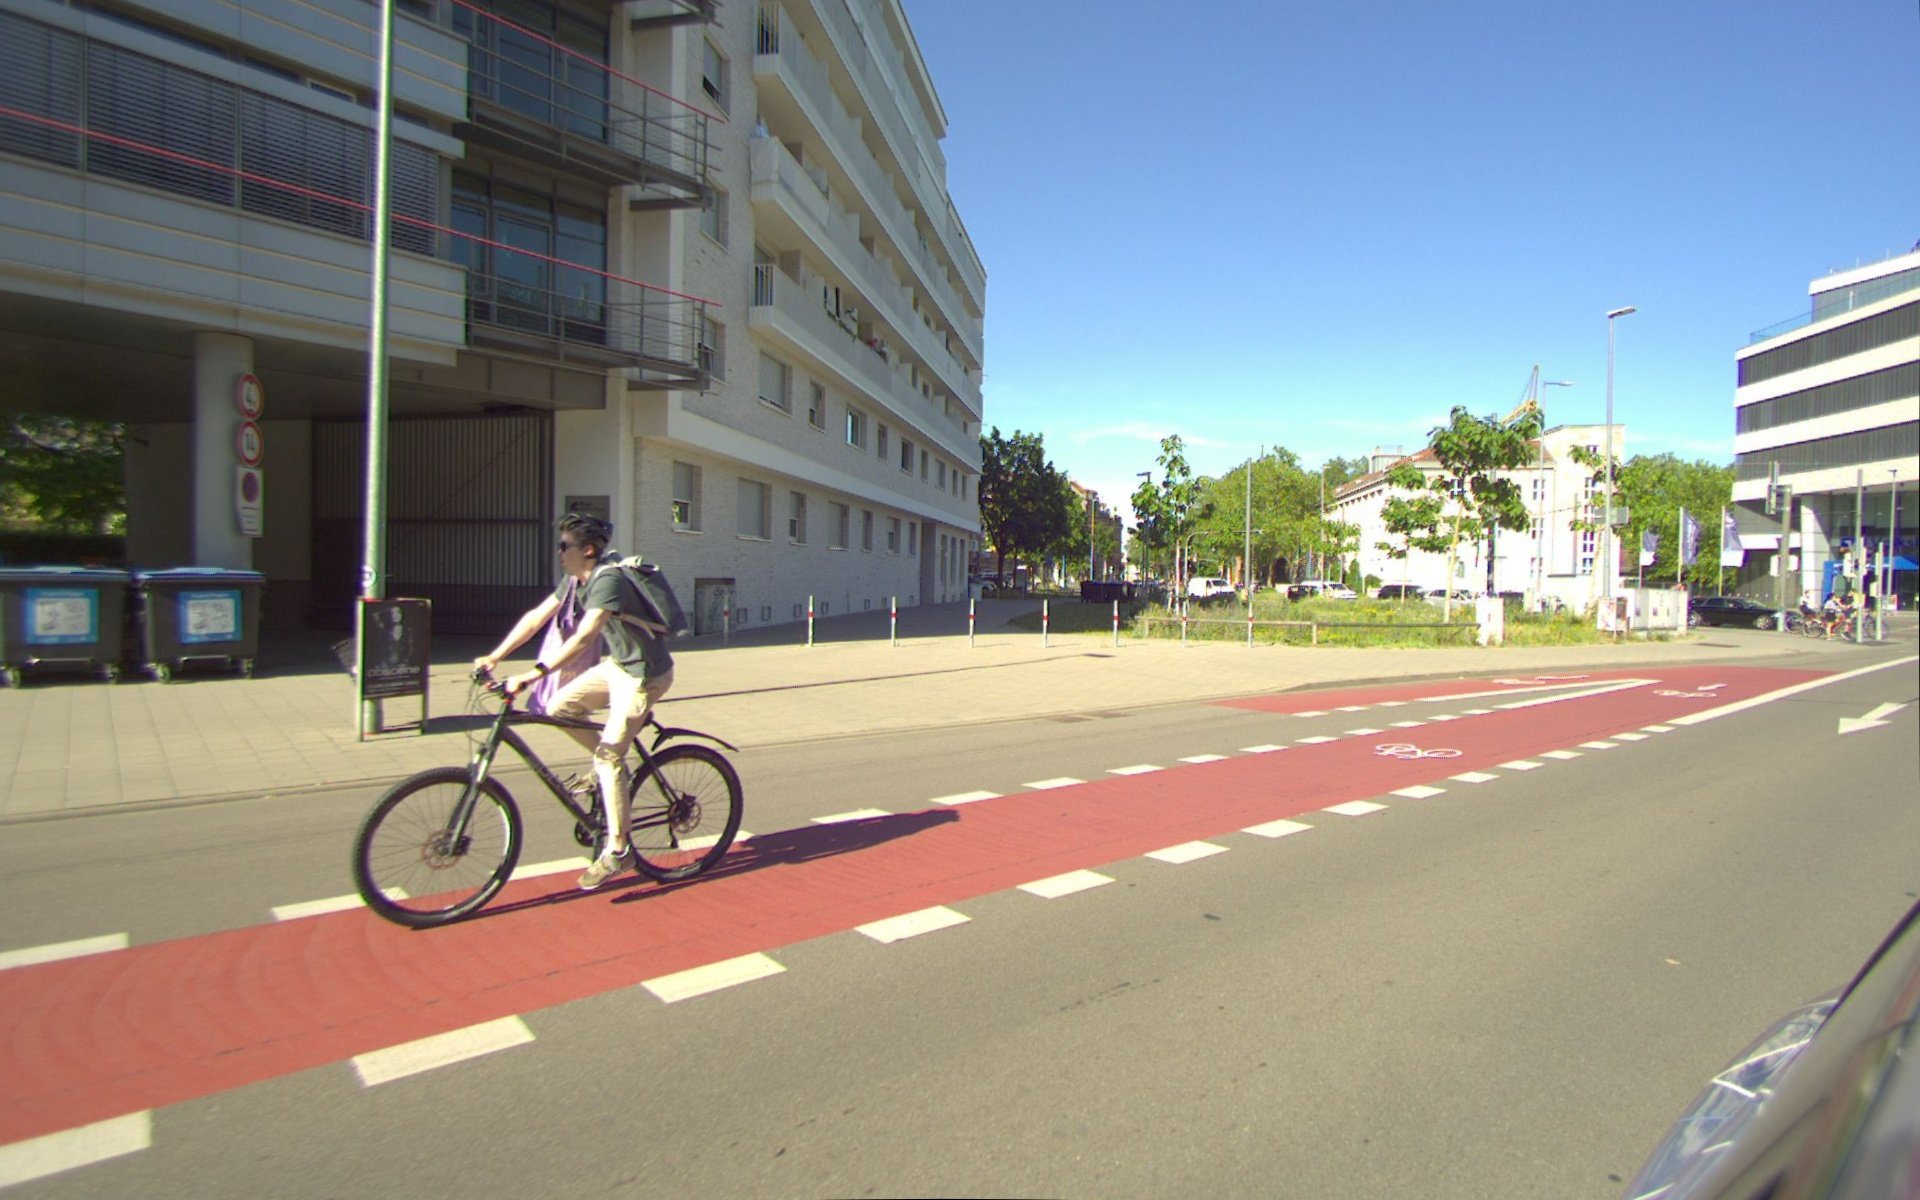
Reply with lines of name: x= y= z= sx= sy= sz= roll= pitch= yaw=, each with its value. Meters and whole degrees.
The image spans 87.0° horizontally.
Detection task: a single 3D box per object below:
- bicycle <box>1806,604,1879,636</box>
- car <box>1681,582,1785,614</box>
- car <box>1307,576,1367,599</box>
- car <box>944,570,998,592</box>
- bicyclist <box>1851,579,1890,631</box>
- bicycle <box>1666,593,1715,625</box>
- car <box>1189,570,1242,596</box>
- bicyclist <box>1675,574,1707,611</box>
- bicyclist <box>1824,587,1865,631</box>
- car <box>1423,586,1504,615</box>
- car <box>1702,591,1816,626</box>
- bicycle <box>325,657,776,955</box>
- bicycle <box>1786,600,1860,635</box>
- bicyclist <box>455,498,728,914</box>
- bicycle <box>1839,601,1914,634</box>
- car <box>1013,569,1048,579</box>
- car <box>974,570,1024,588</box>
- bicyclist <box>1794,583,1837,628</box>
bicycle: x=30.081 y=0.660 z=34.522 sx=0.682 sy=0.966 sz=1.710 roll=1 pitch=2 yaw=-28
car: x=38.951 y=-0.139 z=51.071 sx=1.636 sy=1.448 sz=3.841 roll=-3 pitch=3 yaw=-28
car: x=27.433 y=-0.952 z=73.778 sx=1.836 sy=1.575 sz=4.009 roll=0 pitch=2 yaw=-23
car: x=0.871 y=-1.562 z=82.594 sx=3.918 sy=1.682 sz=2.004 roll=0 pitch=2 yaw=-27
bicyclist: x=33.489 y=0.178 z=37.226 sx=0.539 sy=1.820 sz=0.907 roll=1 pitch=2 yaw=-33
bicycle: x=28.374 y=0.346 z=39.331 sx=0.686 sy=1.118 sz=2.005 roll=3 pitch=2 yaw=11
car: x=20.531 y=-1.364 z=81.559 sx=1.835 sy=2.006 sz=4.665 roll=0 pitch=2 yaw=-20
bicyclist: x=28.406 y=-0.286 z=39.322 sx=0.686 sy=1.394 sz=0.735 roll=3 pitch=2 yaw=12
bicyclist: x=30.102 y=0.304 z=34.441 sx=0.578 sy=1.421 sz=0.829 roll=1 pitch=2 yaw=-29
car: x=29.824 y=0.025 z=60.039 sx=1.836 sy=1.575 sz=4.007 roll=0 pitch=2 yaw=-26
car: x=36.774 y=0.349 z=46.682 sx=1.553 sy=1.451 sz=3.845 roll=0 pitch=2 yaw=-25
bicycle: x=-1.909 y=0.855 z=4.848 sx=1.857 sy=1.050 sz=0.828 roll=0 pitch=0 yaw=-38
bicycle: x=33.667 y=0.664 z=39.506 sx=0.682 sy=1.118 sz=2.017 roll=4 pitch=3 yaw=-22
bicyclist: x=-1.752 y=0.434 z=4.811 sx=1.032 sy=1.714 sz=0.808 roll=0 pitch=0 yaw=-37
bicycle: x=33.572 y=0.628 z=37.087 sx=0.594 sy=1.050 sz=1.897 roll=1 pitch=2 yaw=-33
car: x=9.538 y=-3.554 z=137.042 sx=4.310 sy=1.225 sz=2.004 roll=0 pitch=2 yaw=-27
car: x=3.937 y=-2.109 z=101.259 sx=4.696 sy=1.793 sz=1.735 roll=0 pitch=1 yaw=-27
bicyclist: x=33.596 y=0.199 z=39.746 sx=0.583 sy=1.674 sz=1.006 roll=2 pitch=4 yaw=-22
